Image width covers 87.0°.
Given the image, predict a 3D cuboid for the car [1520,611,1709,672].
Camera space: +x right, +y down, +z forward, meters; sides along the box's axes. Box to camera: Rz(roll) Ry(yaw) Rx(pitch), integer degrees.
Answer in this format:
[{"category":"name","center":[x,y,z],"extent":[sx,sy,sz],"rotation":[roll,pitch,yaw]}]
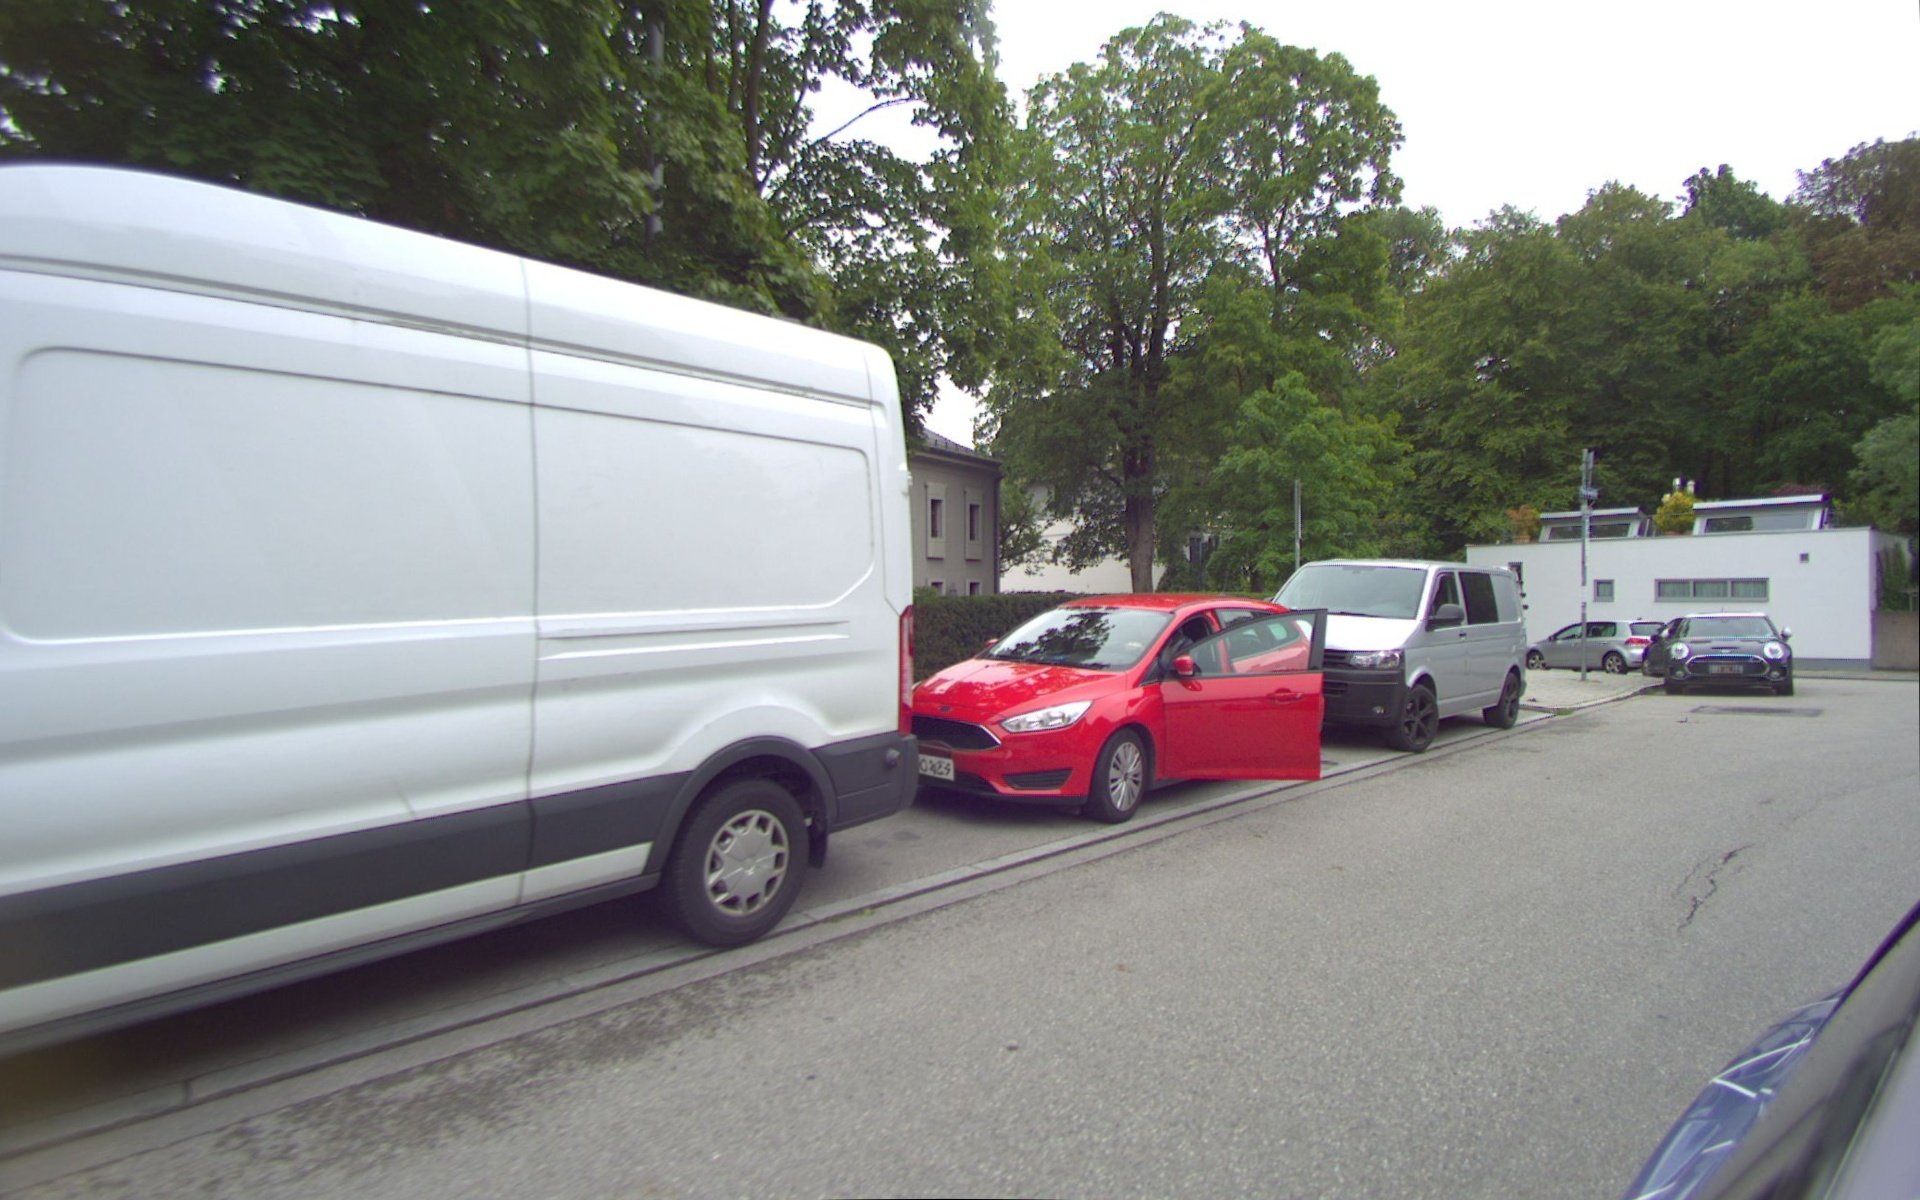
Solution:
[{"category":"car","center":[17.150,1.077,26.772],"extent":[1.901,1.465,4.021],"rotation":[2,-2,-12]}]

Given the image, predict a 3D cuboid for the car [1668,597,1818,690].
[{"category":"car","center":[14.032,0.771,18.231],"extent":[1.887,1.465,4.210],"rotation":[-3,-3,37]}]

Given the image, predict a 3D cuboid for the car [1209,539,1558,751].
[{"category":"car","center":[5.083,0.384,11.711],"extent":[1.936,1.928,4.989],"rotation":[3,2,45]}]

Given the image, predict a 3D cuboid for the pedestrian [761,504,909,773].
[{"category":"pedestrian","center":[-0.973,0.282,7.843],"extent":[0.849,1.928,0.797],"rotation":[1,-1,-39]}]

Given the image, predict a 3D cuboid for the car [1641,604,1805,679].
[{"category":"car","center":[16.385,0.917,21.969],"extent":[1.876,1.465,3.981],"rotation":[-2,-3,23]}]

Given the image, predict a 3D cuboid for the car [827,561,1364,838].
[{"category":"car","center":[1.382,0.552,8.125],"extent":[1.870,1.525,4.763],"rotation":[4,2,42]}]

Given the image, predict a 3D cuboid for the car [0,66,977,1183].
[{"category":"car","center":[-2.727,0.036,3.576],"extent":[2.079,2.720,5.994],"rotation":[3,2,42]}]
